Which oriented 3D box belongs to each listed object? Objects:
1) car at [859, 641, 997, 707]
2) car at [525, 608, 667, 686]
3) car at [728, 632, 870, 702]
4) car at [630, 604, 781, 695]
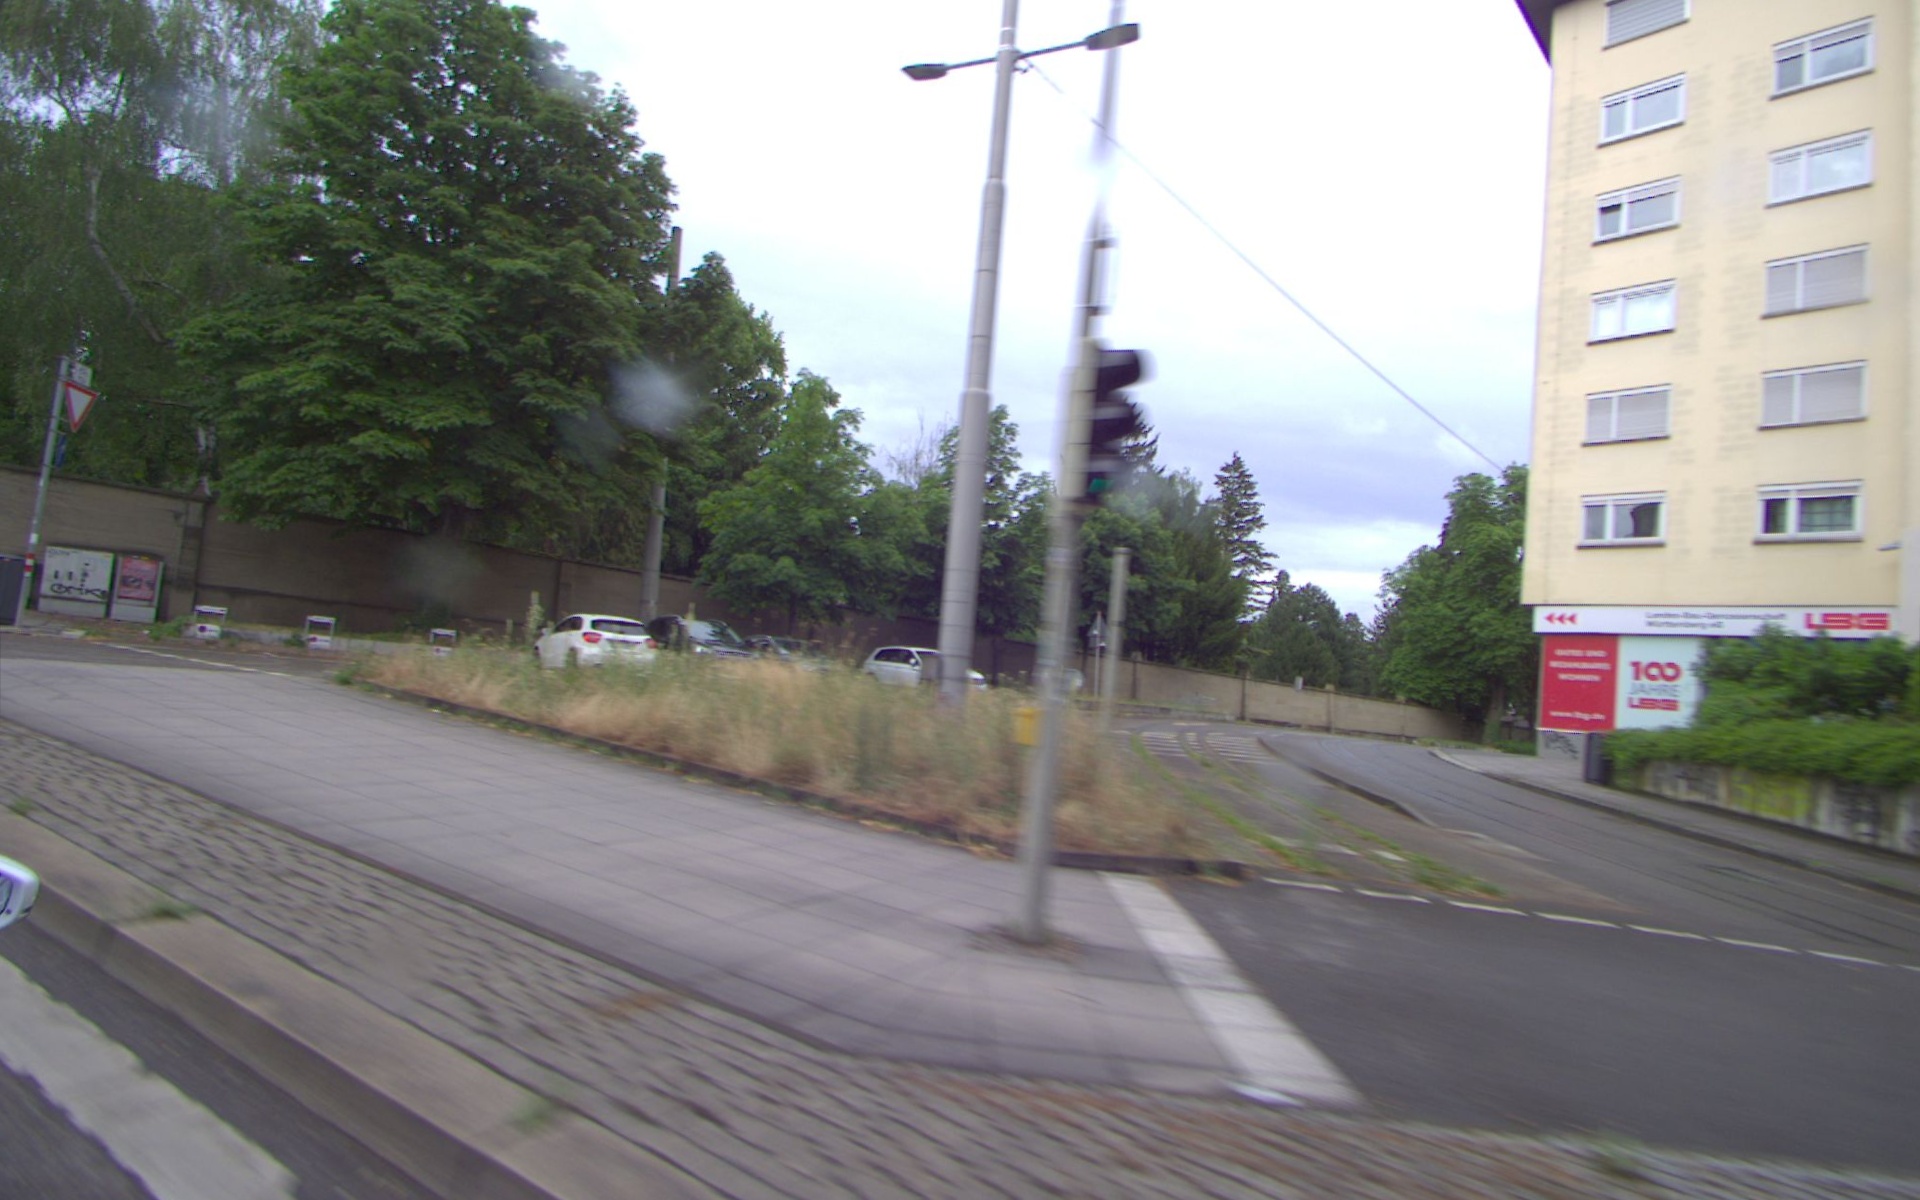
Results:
[{"bbox_3d":[-0.990,2.118,29.145,1.775,1.573,4.179,8,-5,-38],"label":"car"},{"bbox_3d":[-8.314,1.025,22.778,1.746,1.421,3.961,9,-5,-38],"label":"car"},{"bbox_3d":[-4.170,1.674,25.594,1.776,1.406,3.962,9,-5,-38],"label":"car"},{"bbox_3d":[-6.169,1.142,24.069,1.746,1.822,4.232,9,-5,-38],"label":"car"}]
